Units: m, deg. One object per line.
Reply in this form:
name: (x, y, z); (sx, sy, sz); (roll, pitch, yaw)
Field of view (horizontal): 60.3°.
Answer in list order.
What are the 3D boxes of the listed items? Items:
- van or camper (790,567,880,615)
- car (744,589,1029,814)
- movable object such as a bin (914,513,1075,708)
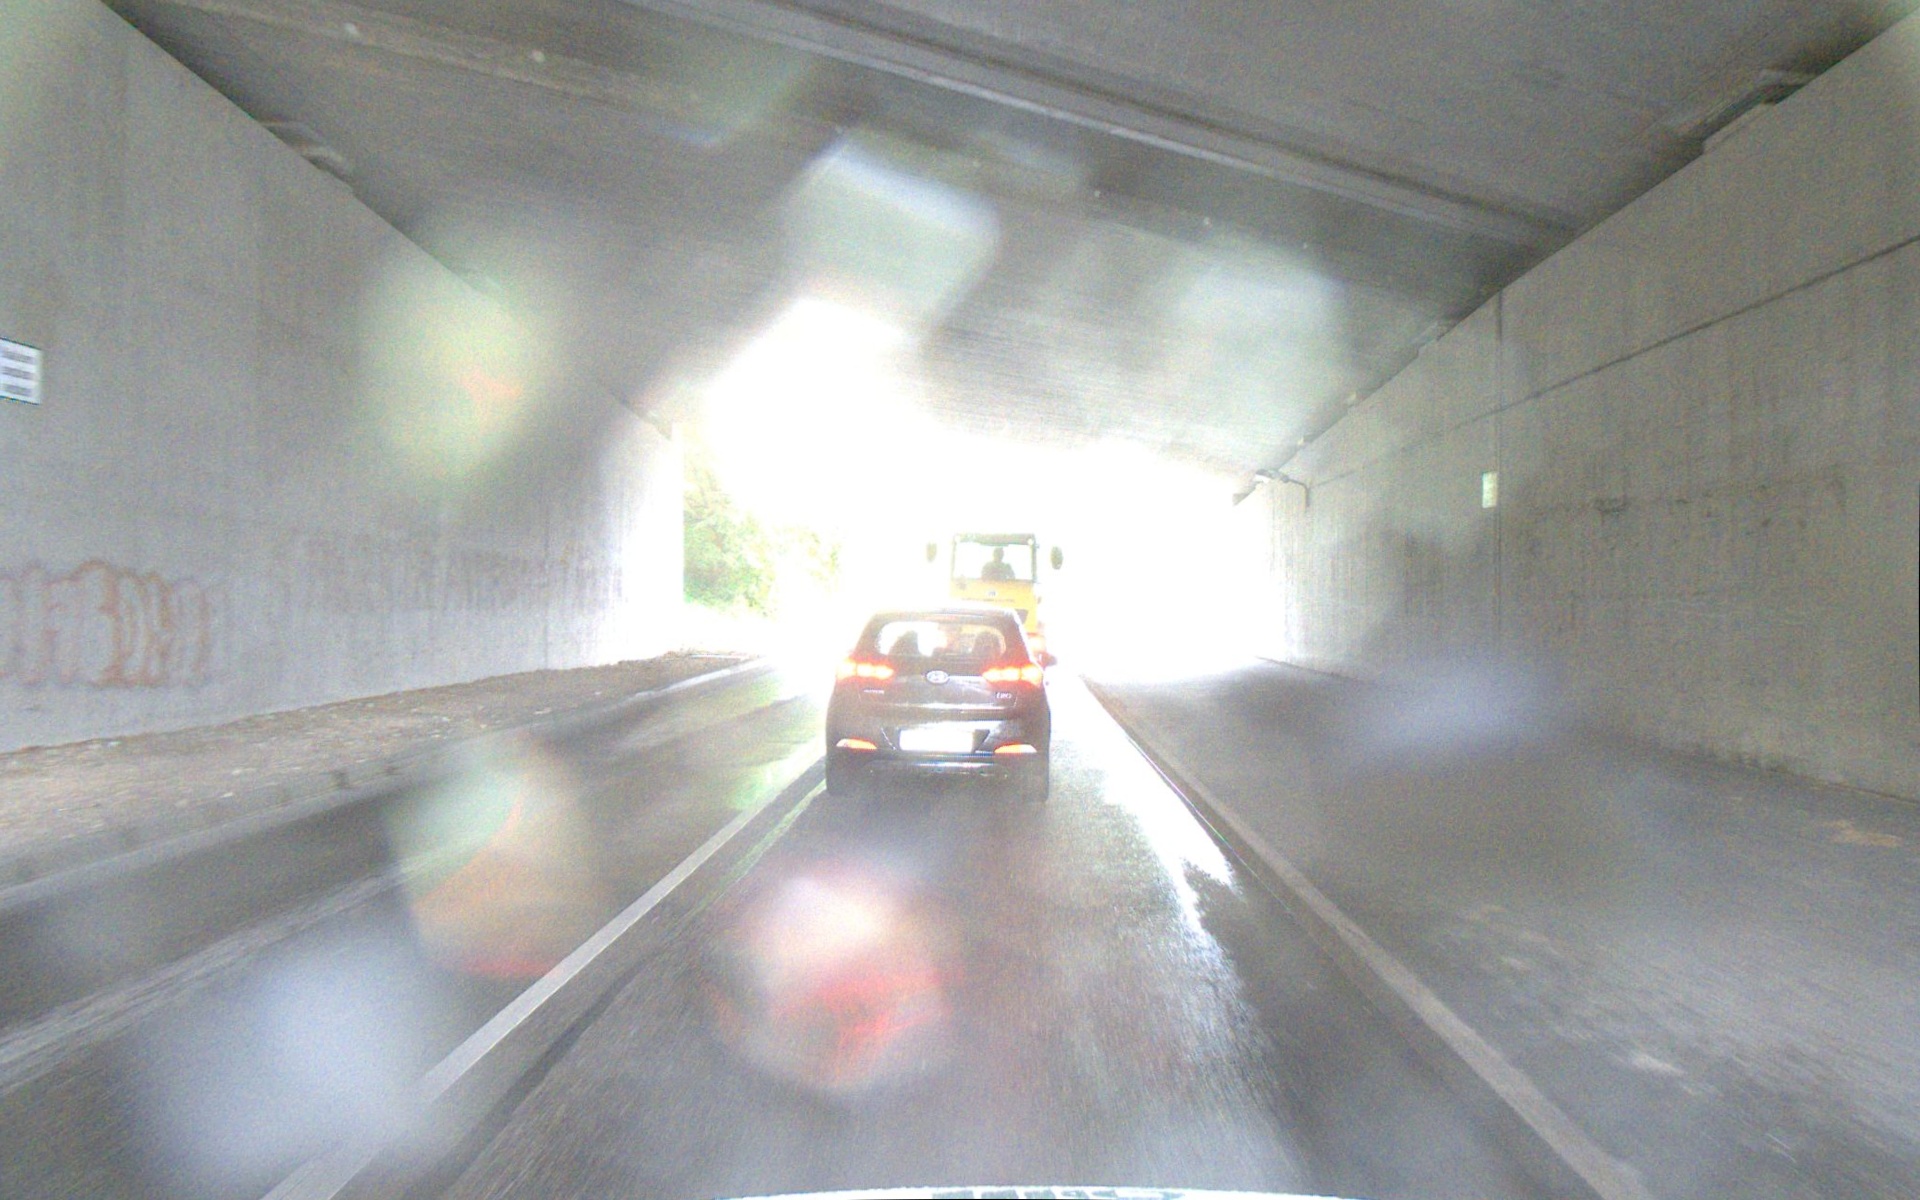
van or camper: (-5.934, -0.451, 78.256); (1.980, 2.135, 4.627); (2, 0, -38)
car: (-0.575, 0.712, 13.676); (1.953, 1.513, 3.999); (2, 0, -2)
movable object such as a bin: (0.522, 0.145, 27.020); (2.199, 2.716, 6.626); (2, 0, 0)
